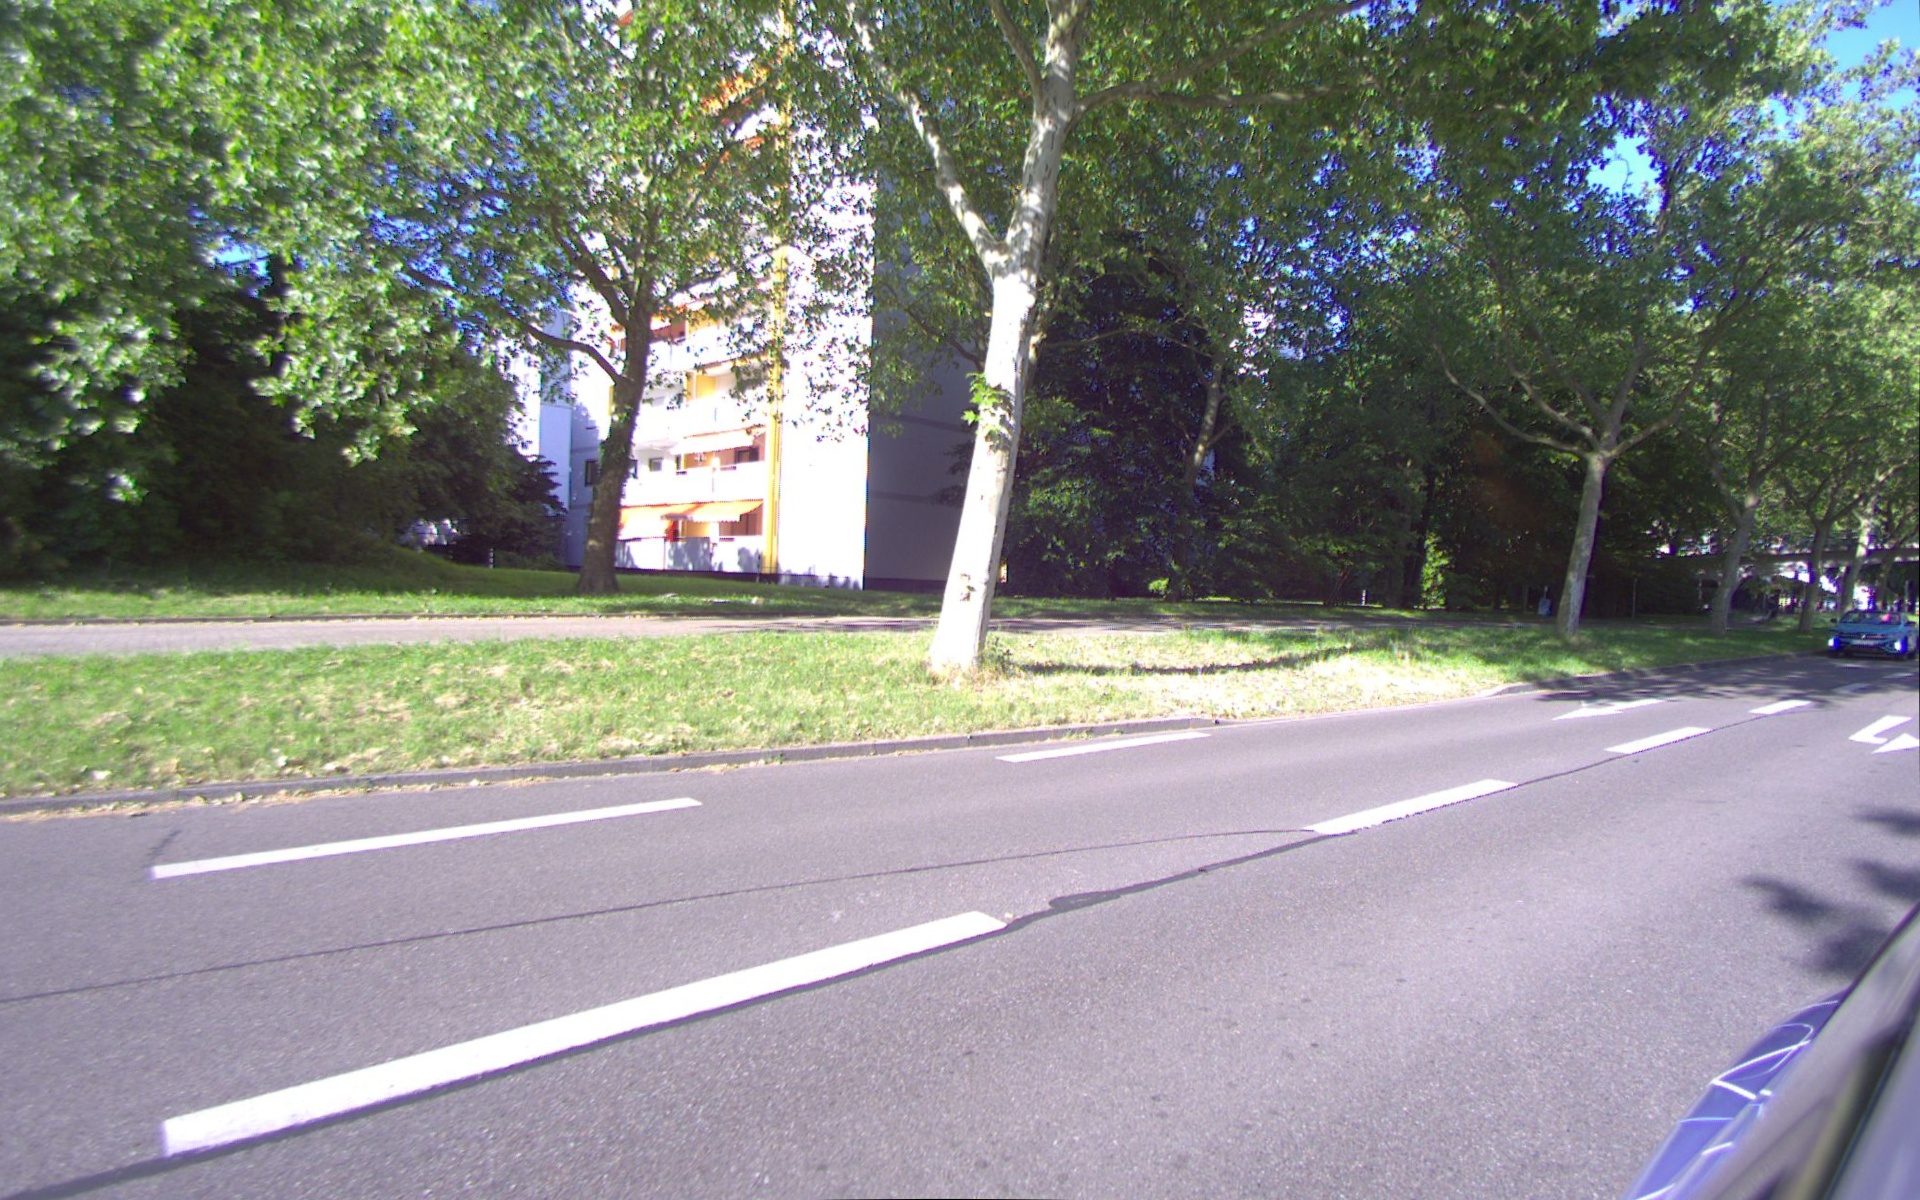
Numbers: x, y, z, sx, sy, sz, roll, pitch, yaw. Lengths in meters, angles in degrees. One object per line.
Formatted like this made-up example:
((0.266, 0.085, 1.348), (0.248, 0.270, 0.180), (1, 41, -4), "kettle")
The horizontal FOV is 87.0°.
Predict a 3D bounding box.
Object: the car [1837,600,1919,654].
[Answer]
((28.150, 0.787, 30.700), (4.028, 1.502, 1.779), (1, 0, -41), "car")

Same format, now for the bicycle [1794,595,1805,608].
((83.947, 0.180, 101.189), (1.775, 1.269, 0.576), (0, 1, -43), "bicycle")

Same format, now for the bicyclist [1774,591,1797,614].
((62.033, 0.194, 76.077), (0.799, 1.652, 0.958), (4, 2, -5), "bicyclist")

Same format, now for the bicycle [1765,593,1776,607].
((77.586, -0.016, 96.885), (1.775, 1.269, 0.576), (0, 1, -43), "bicycle")

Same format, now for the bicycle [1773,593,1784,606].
((81.807, -0.036, 101.123), (1.775, 1.269, 0.576), (0, 1, -43), "bicycle")

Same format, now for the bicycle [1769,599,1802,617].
((62.011, 0.617, 76.050), (0.799, 1.160, 1.840), (4, 3, -5), "bicycle")

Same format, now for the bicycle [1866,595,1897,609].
((89.070, 0.167, 97.827), (2.064, 1.172, 0.554), (5, 3, 39), "bicycle")
